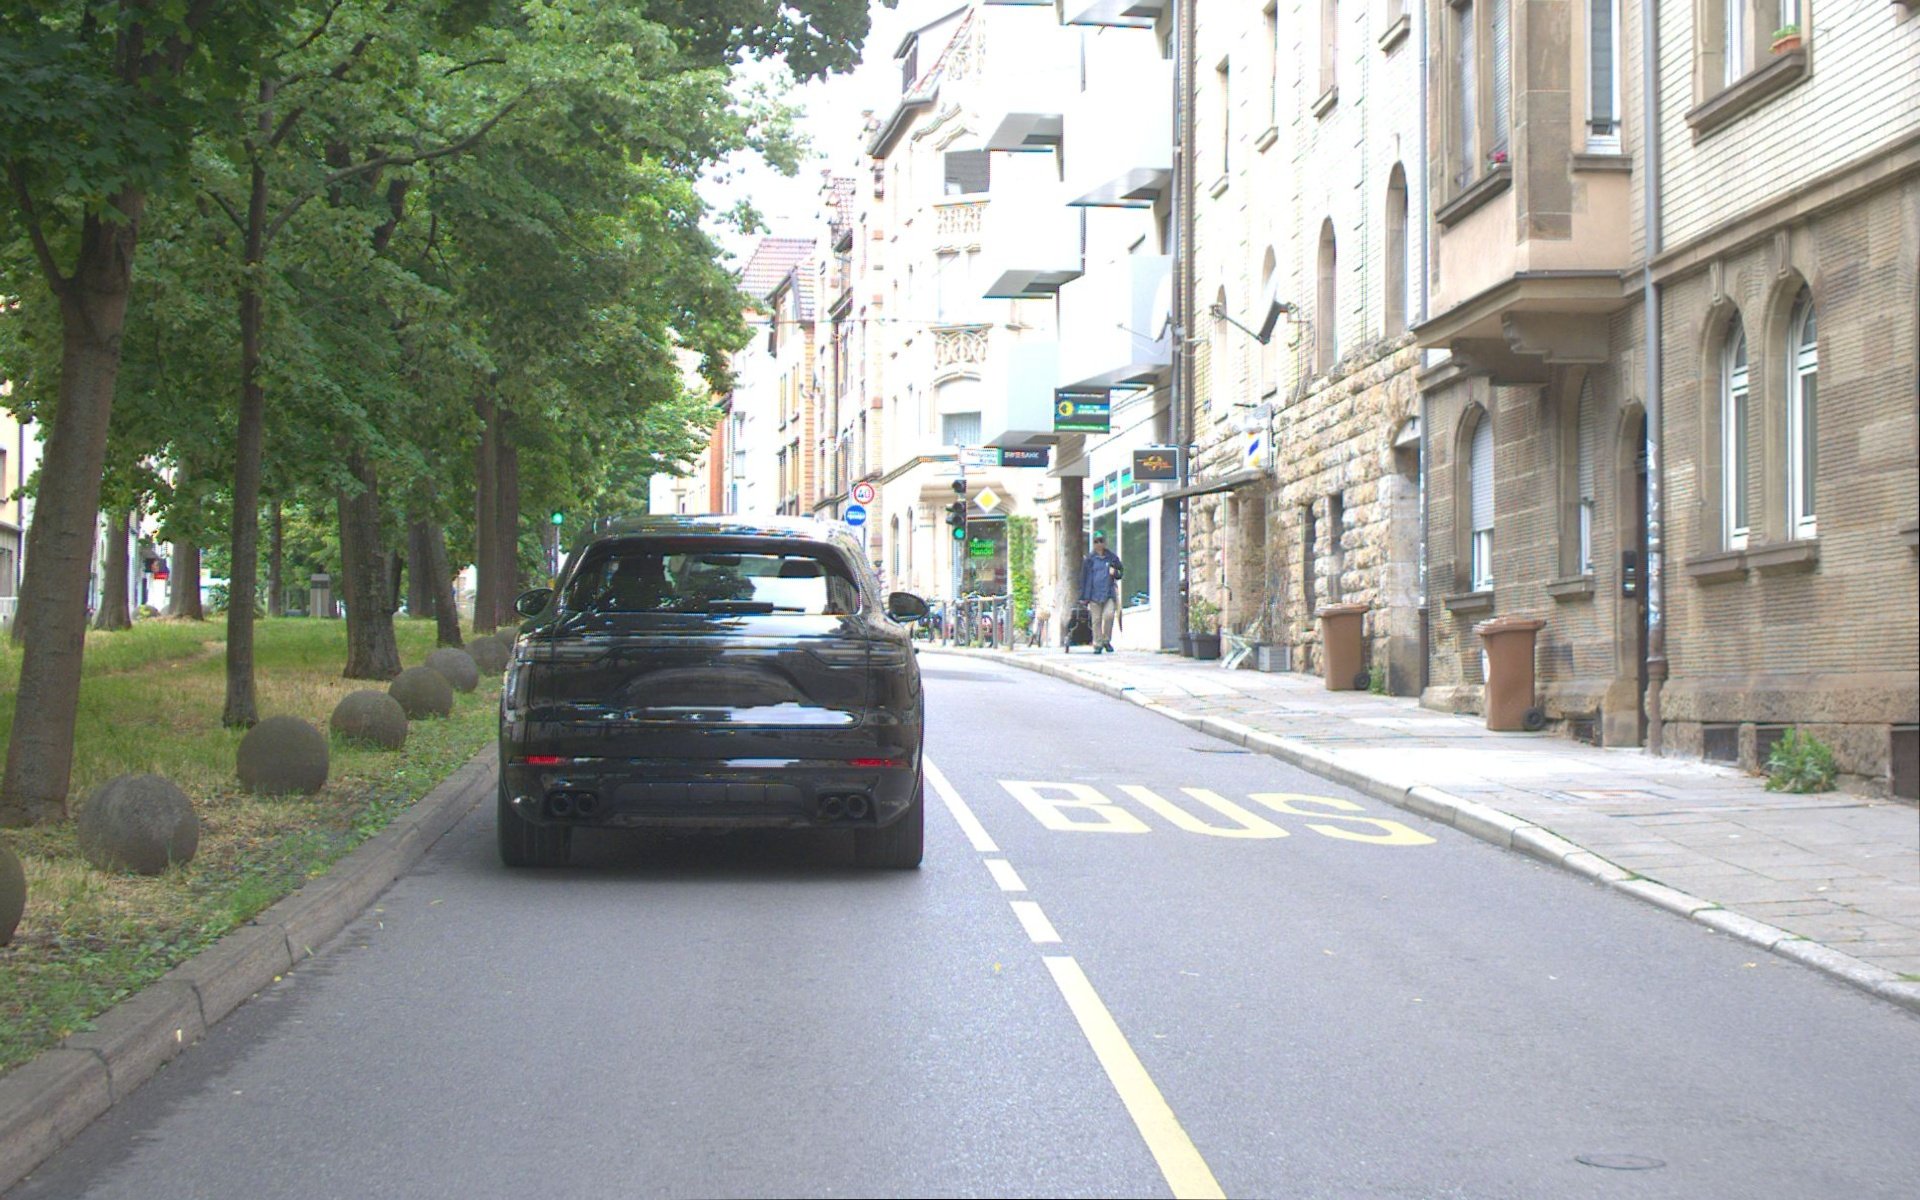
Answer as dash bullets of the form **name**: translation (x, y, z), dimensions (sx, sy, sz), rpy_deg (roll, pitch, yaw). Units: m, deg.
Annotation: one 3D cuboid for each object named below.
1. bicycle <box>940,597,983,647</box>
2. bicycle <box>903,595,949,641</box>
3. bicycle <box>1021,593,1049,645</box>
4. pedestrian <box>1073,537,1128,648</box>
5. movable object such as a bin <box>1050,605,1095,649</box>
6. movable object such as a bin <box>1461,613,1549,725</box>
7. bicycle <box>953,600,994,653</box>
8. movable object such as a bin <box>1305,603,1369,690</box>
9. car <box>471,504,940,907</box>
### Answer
- **bicycle**: translation (0.020, 0.425, 65.642), dimensions (0.286, 0.928, 1.761), rpy_deg (2, -1, -18)
- **bicycle**: translation (-0.885, 0.482, 88.196), dimensions (0.879, 1.125, 2.980), rpy_deg (1, -1, -6)
- **bicycle**: translation (1.885, 0.461, 86.325), dimensions (0.446, 1.157, 1.835), rpy_deg (0, 4, -7)
- **pedestrian**: translation (2.131, -0.108, 52.370), dimensions (0.751, 1.687, 0.858), rpy_deg (0, -1, -4)
- **movable object such as a bin**: translation (1.738, 0.417, 53.206), dimensions (0.607, 0.666, 0.858), rpy_deg (0, -1, -4)
- **movable object such as a bin**: translation (4.500, 0.565, 28.423), dimensions (0.594, 0.901, 0.563), rpy_deg (1, 0, -3)
- **bicycle**: translation (0.244, 0.491, 63.010), dimensions (0.569, 0.928, 1.775), rpy_deg (1, -1, -5)
- **movable object such as a bin**: translation (4.041, 0.498, 36.891), dimensions (0.594, 0.901, 0.503), rpy_deg (1, -3, -3)
- **car**: translation (-1.172, 0.410, 17.059), dimensions (1.993, 1.660, 4.001), rpy_deg (2, 2, -2)
